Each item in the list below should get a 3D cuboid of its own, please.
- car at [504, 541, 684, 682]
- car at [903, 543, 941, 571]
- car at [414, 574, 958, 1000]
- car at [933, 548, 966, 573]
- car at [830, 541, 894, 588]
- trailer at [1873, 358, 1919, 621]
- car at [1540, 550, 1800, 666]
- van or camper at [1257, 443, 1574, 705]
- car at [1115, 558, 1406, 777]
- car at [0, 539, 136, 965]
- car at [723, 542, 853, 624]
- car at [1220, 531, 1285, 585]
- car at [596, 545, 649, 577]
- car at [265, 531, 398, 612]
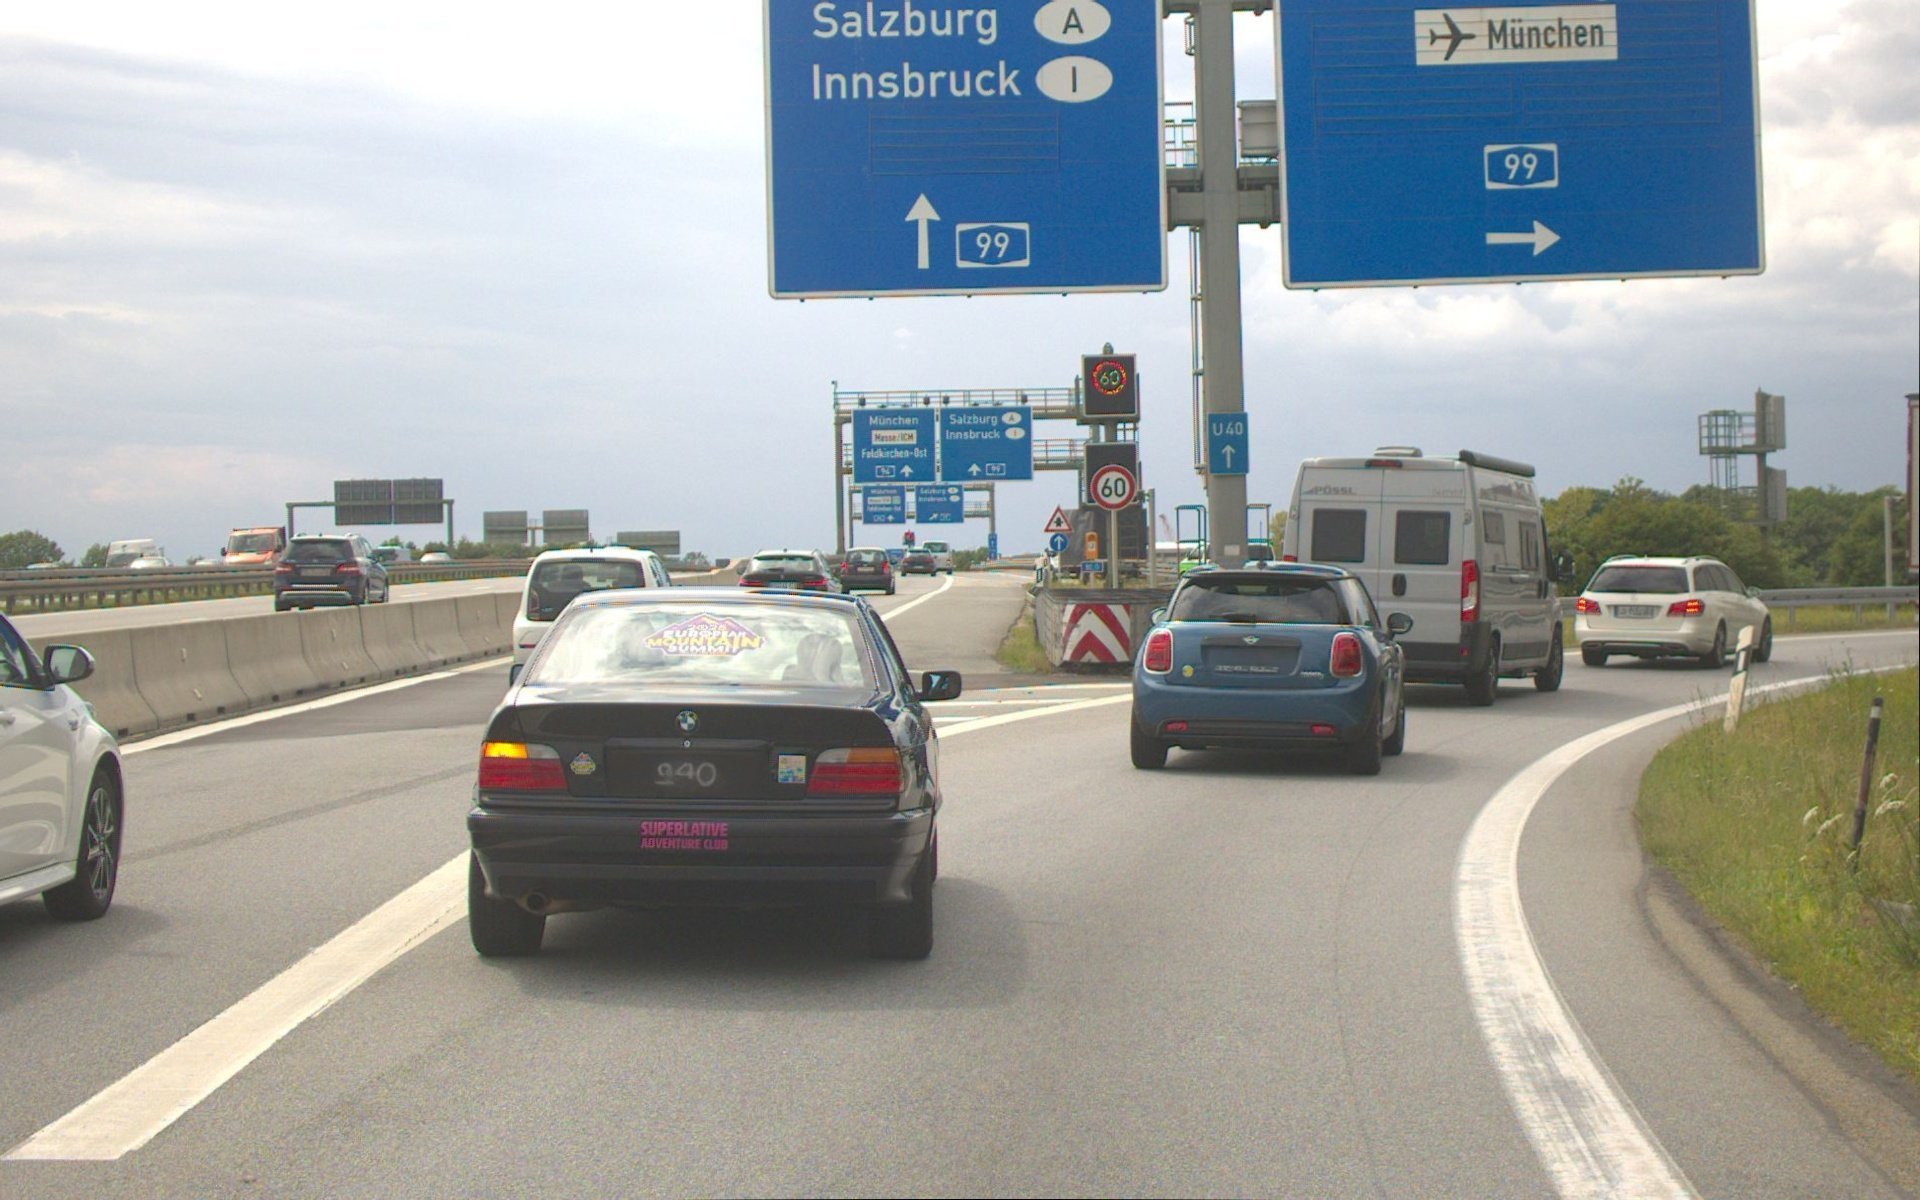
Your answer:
[{"bbox_3d":[-3.996,0.094,37.948,1.585,1.478,3.535,0,1,0],"label":"car"},{"bbox_3d":[-1.932,-2.229,176.225,1.803,1.419,4.000,0,1,1],"label":"car"},{"bbox_3d":[-0.912,0.607,13.505,1.782,1.373,4.137,0,1,0],"label":"car"},{"bbox_3d":[-0.580,-2.301,198.735,1.803,1.419,4.000,0,1,1],"label":"car"},{"bbox_3d":[-3.024,-1.108,106.989,1.866,1.419,4.000,0,1,0],"label":"car"},{"bbox_3d":[19.958,-1.812,59.288,3.338,4.179,13.004,1,1,38],"label":"trailer"},{"bbox_3d":[9.779,0.065,47.071,2.209,1.496,4.780,0,1,28],"label":"car"},{"bbox_3d":[5.006,-0.309,36.881,2.295,2.559,6.155,0,1,18],"label":"van or camper"},{"bbox_3d":[2.232,0.424,24.730,1.730,1.414,3.664,1,1,10],"label":"car"},{"bbox_3d":[-4.238,0.535,12.294,1.701,1.503,3.840,0,1,-1],"label":"car"},{"bbox_3d":[-3.162,-0.333,63.898,1.994,1.463,4.000,0,1,3],"label":"car"},{"bbox_3d":[11.095,-1.620,130.542,1.993,2.007,4.000,0,1,-2],"label":"car"},{"bbox_3d":[-16.006,-1.866,163.233,1.993,1.463,4.000,0,1,1],"label":"car"},{"bbox_3d":[-13.512,-0.640,74.214,1.993,1.678,4.866,0,1,0],"label":"car"}]
